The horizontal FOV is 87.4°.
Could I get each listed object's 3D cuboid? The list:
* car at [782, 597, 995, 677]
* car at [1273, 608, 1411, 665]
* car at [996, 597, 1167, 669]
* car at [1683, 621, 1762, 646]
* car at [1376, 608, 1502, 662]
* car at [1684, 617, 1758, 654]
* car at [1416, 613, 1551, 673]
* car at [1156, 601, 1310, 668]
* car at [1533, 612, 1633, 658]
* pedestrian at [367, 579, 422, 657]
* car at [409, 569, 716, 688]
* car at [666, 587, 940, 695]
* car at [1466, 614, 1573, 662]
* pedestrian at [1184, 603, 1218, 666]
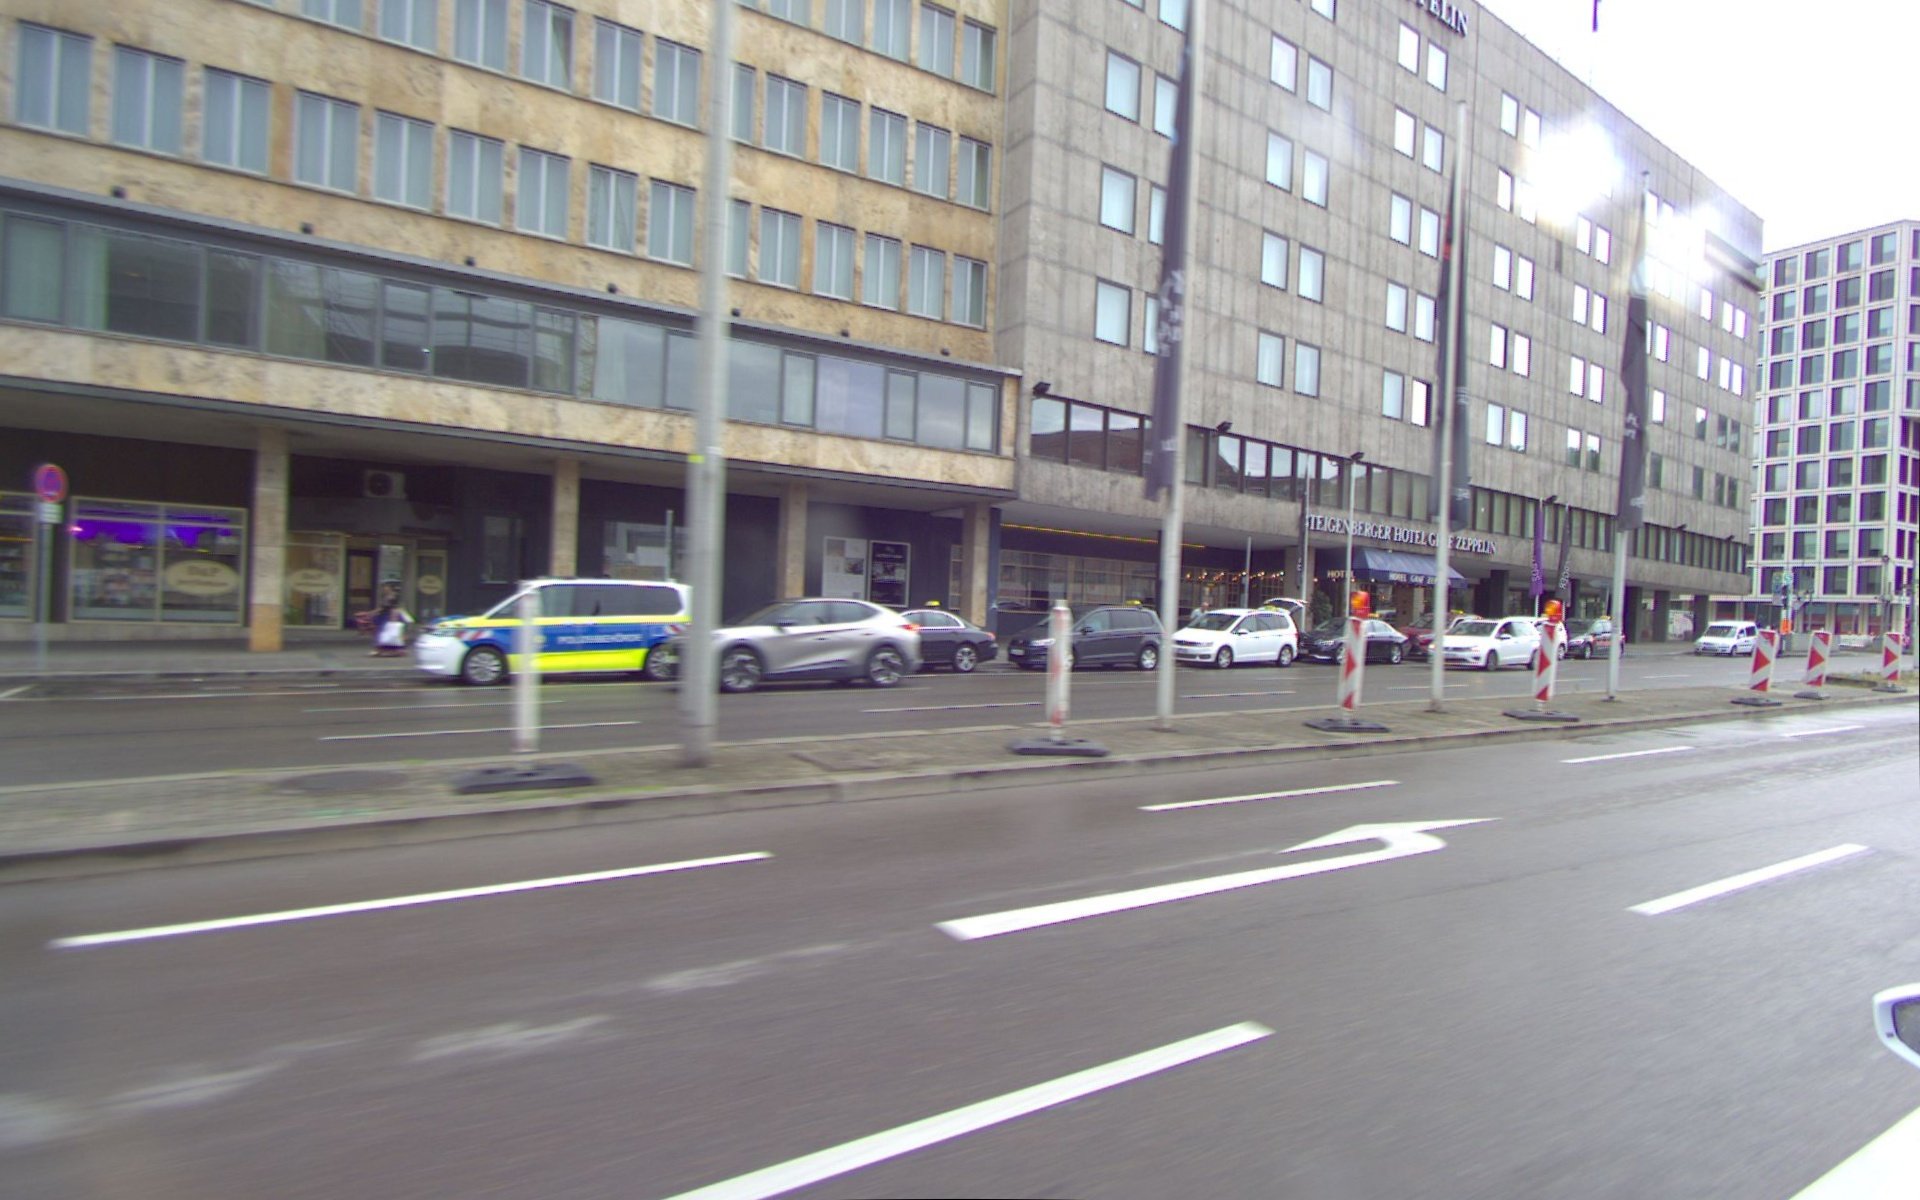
[{"bbox_3d":[-1.542,0.825,22.565,4.520,1.643,1.742,2,-1,-36],"label":"car"},{"bbox_3d":[12.307,1.165,32.288,4.570,1.681,1.890,2,0,-35],"label":"car"},{"bbox_3d":[3.138,0.822,25.690,4.181,1.704,1.745,1,0,-32],"label":"car"},{"bbox_3d":[65.395,2.845,86.282,2.059,1.929,5.055,2,0,-24],"label":"car"},{"bbox_3d":[16.992,1.254,35.558,4.597,1.791,1.891,2,0,-33],"label":"car"},{"bbox_3d":[38.610,1.810,50.925,4.328,1.786,1.762,2,0,-35],"label":"car"},{"bbox_3d":[16.000,1.298,30.637,4.456,1.691,1.812,2,0,-35],"label":"car"},{"bbox_3d":[7.939,1.011,29.068,4.665,1.781,1.742,2,-1,-36],"label":"car"},{"bbox_3d":[26.012,1.470,41.914,4.466,1.751,1.805,2,0,-33],"label":"car"},{"bbox_3d":[-11.697,0.383,20.803,0.945,1.569,0.712,2,0,-28],"label":"pedestrian"},{"bbox_3d":[-7.310,0.506,18.723,5.025,1.954,1.887,1,0,-36],"label":"car"},{"bbox_3d":[-2.701,0.719,17.715,4.453,1.691,1.763,2,-1,-34],"label":"car"},{"bbox_3d":[21.646,1.478,38.788,4.532,1.720,1.804,2,-1,-35],"label":"car"},{"bbox_3d":[7.196,1.031,30.043,0.651,1.805,0.617,3,1,-34],"label":"pedestrian"}]
